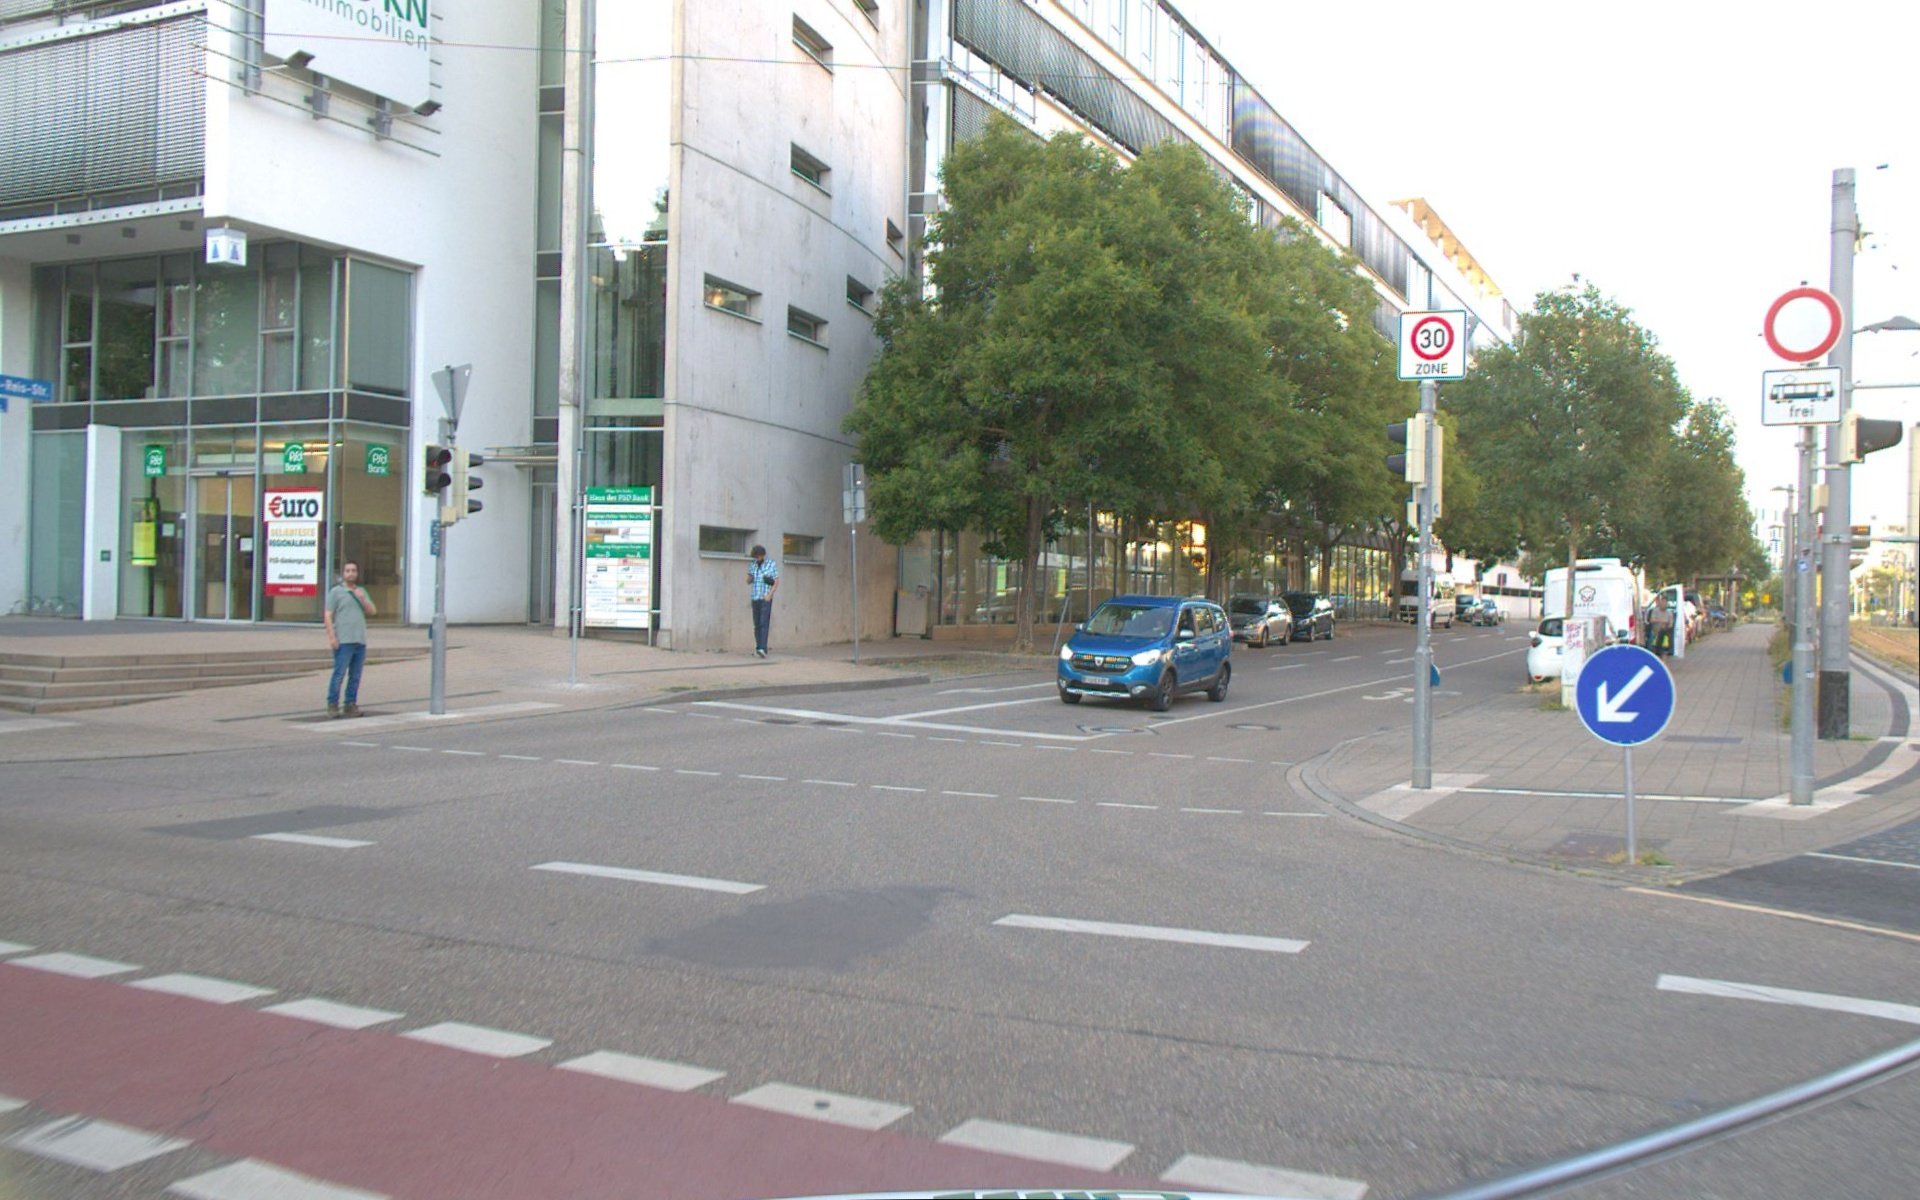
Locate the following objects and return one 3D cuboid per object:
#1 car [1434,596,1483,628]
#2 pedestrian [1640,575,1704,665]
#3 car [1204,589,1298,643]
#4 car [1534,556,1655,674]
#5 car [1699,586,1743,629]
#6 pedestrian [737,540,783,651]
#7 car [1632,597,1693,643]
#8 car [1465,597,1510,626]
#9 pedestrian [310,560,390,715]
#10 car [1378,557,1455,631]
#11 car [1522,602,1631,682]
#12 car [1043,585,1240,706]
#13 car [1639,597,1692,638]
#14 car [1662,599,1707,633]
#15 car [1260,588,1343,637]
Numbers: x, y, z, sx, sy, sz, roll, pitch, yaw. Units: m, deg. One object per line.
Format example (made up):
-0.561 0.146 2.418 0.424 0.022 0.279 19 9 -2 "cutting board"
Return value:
25.151 0.587 83.328 1.650 1.528 4.234 1 0 27 "car"
16.625 0.454 38.633 1.018 2.066 0.984 1 0 -1 "pedestrian"
8.835 0.472 50.027 1.650 1.528 4.234 1 0 27 "car"
14.912 0.306 38.731 2.411 2.526 5.807 1 0 22 "car"
38.169 0.361 83.003 1.954 2.049 3.998 1 0 24 "car"
-3.550 -0.082 29.370 0.647 1.956 0.548 0 0 15 "pedestrian"
23.672 0.649 55.684 1.650 1.464 4.122 1 0 26 "car"
28.727 0.617 89.992 1.650 1.528 4.234 1 0 27 "car"
-7.003 0.421 19.005 0.537 1.741 0.657 1 0 36 "pedestrian"
20.780 -0.285 75.125 2.159 3.207 6.136 1 0 27 "car"
12.416 0.789 33.185 1.650 1.464 4.122 1 0 26 "car"
2.959 0.656 26.121 1.650 1.729 4.233 1 0 28 "car"
27.121 0.647 63.551 1.650 1.464 4.122 1 0 26 "car"
32.235 0.688 73.567 1.650 1.464 4.122 1 0 26 "car"
11.501 0.405 55.504 1.650 1.528 4.234 1 0 27 "car"
